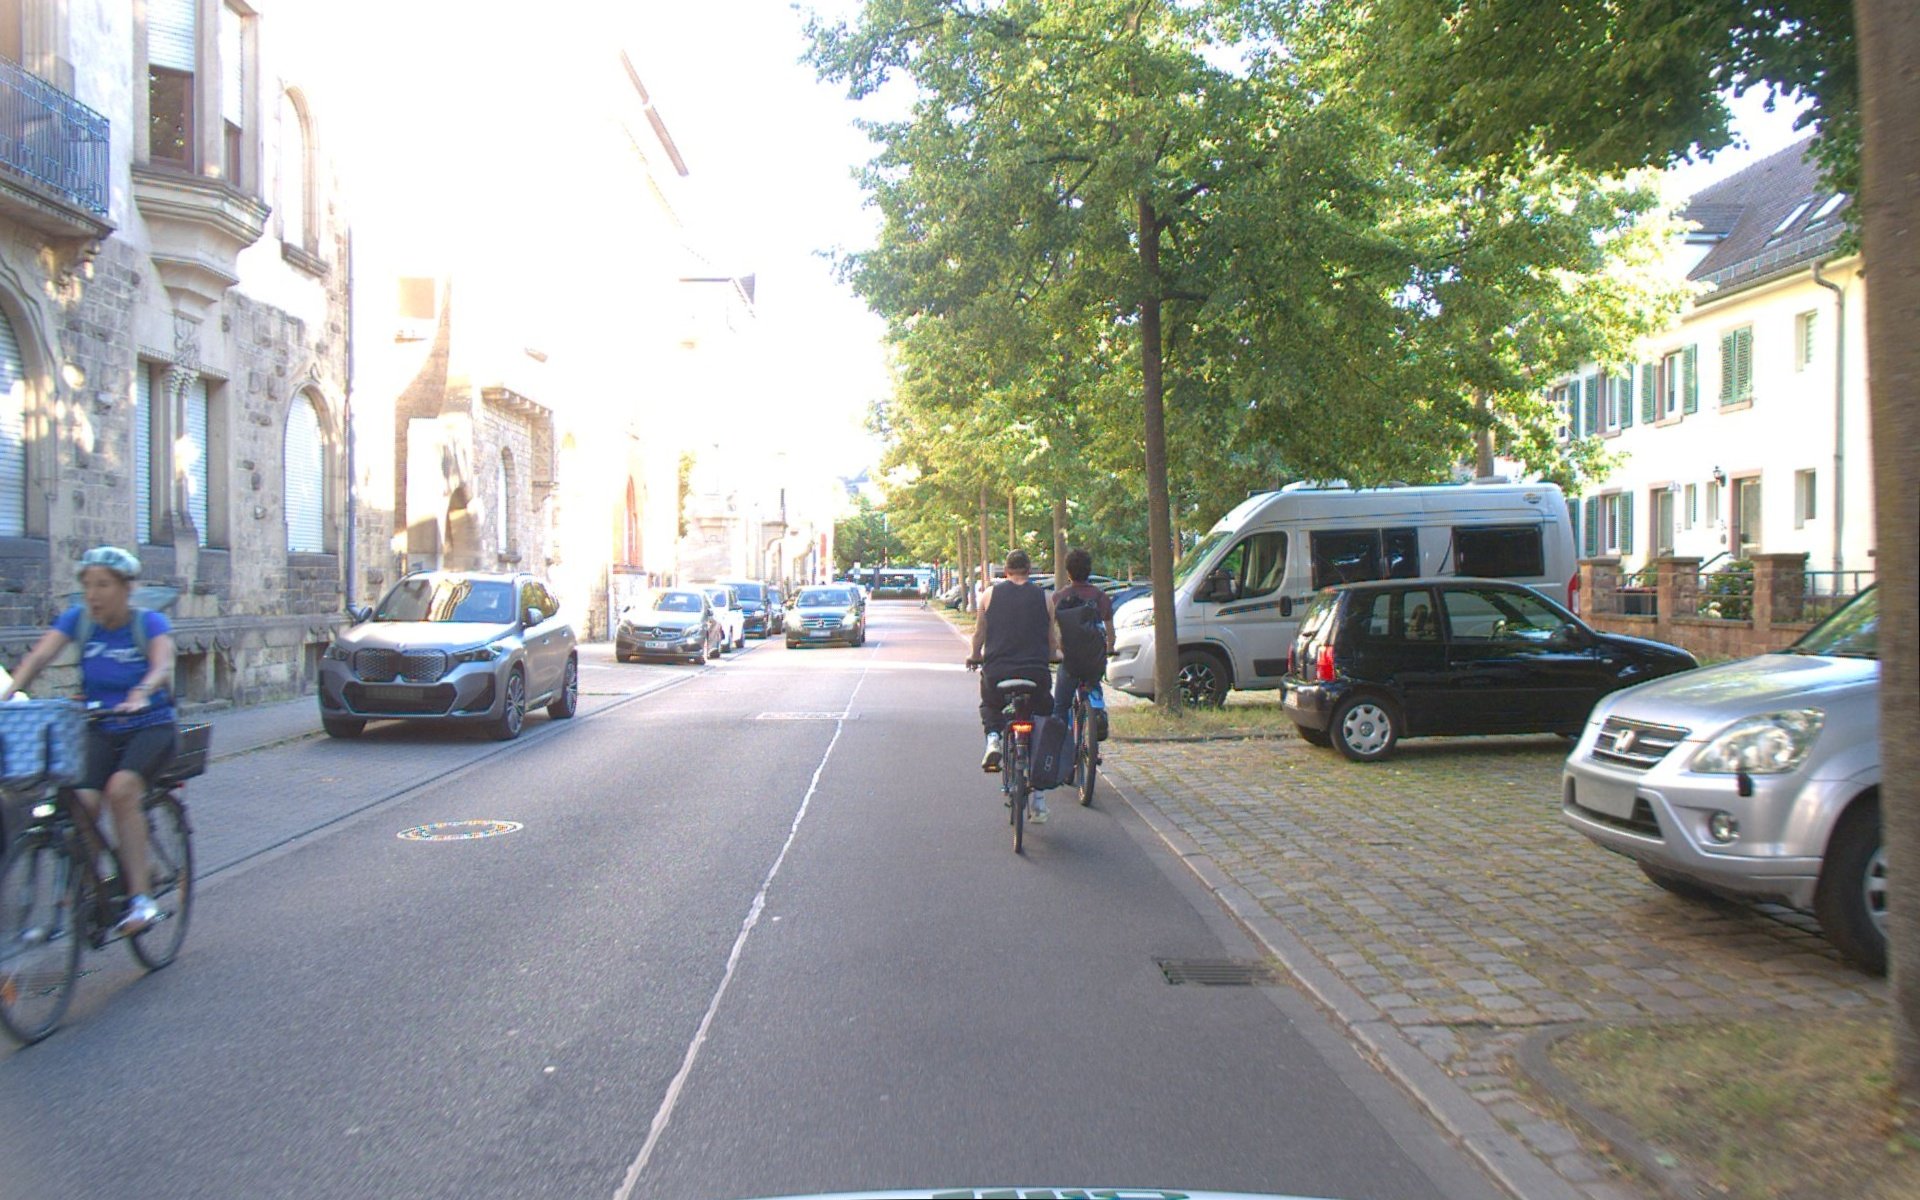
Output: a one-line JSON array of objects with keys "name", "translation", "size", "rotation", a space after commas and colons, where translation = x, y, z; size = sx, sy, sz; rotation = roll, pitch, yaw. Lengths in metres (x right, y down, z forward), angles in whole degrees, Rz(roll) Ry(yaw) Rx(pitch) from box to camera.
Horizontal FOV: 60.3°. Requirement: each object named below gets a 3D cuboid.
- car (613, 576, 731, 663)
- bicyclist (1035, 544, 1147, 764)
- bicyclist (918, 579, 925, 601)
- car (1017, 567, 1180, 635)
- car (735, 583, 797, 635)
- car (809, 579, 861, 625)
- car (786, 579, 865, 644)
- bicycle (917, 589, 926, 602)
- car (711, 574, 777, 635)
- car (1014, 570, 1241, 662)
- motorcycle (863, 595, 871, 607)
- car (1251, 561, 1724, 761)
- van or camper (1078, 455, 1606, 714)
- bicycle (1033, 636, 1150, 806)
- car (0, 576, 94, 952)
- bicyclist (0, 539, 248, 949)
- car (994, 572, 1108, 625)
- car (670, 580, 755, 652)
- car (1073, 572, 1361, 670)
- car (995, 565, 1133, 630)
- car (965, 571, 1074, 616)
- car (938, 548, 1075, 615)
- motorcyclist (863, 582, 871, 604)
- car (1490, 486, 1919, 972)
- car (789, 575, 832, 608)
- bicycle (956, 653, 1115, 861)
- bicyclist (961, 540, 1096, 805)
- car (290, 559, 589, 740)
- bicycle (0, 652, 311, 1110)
[{"name": "car", "translation": [-5.767, 0.369, 33.577], "size": [1.720, 1.543, 4.113], "rotation": [4, 0, -2]}, {"name": "bicyclist", "translation": [0.947, 0.382, 12.206], "size": [0.704, 1.553, 0.971], "rotation": [0, -1, -3]}, {"name": "bicyclist", "translation": [-2.421, -0.629, 104.331], "size": [0.408, 1.374, 0.430], "rotation": [0, -1, -2]}, {"name": "car", "translation": [3.680, 0.030, 44.426], "size": [4.157, 1.676, 1.854], "rotation": [-2, -1, -1]}, {"name": "car", "translation": [-6.277, 0.282, 53.868], "size": [1.583, 1.508, 4.017], "rotation": [4, 0, -2]}, {"name": "car", "translation": [-4.571, 0.045, 61.100], "size": [1.731, 1.627, 4.088], "rotation": [0, 1, -2]}, {"name": "car", "translation": [-3.342, 0.286, 41.189], "size": [1.859, 1.512, 4.377], "rotation": [0, -1, -5]}, {"name": "bicycle", "translation": [-2.437, -0.274, 104.288], "size": [0.530, 0.842, 1.918], "rotation": [0, -1, -2]}, {"name": "car", "translation": [-6.278, 0.136, 48.419], "size": [1.598, 1.694, 3.966], "rotation": [0, -1, -3]}, {"name": "car", "translation": [3.240, 0.313, 32.526], "size": [4.160, 1.634, 1.752], "rotation": [-2, -1, -5]}, {"name": "motorcycle", "translation": [-6.405, 0.054, 113.729], "size": [0.540, 0.815, 1.307], "rotation": [-1, 1, -4]}, {"name": "car", "translation": [4.398, 0.492, 14.140], "size": [3.431, 1.498, 1.750], "rotation": [-2, -1, -3]}, {"name": "van or camper", "translation": [4.286, -0.178, 19.199], "size": [5.464, 2.581, 2.267], "rotation": [-3, -1, -4]}, {"name": "bicycle", "translation": [0.938, 0.844, 12.205], "size": [0.544, 1.091, 1.967], "rotation": [0, 0, -5]}, {"name": "car", "translation": [-4.924, 0.690, 5.454], "size": [1.694, 1.602, 4.707], "rotation": [0, -1, -1]}, {"name": "bicyclist", "translation": [-3.167, 0.478, 6.105], "size": [0.652, 1.368, 1.059], "rotation": [-1, 1, -5]}, {"name": "car", "translation": [3.403, -0.045, 62.346], "size": [4.157, 1.828, 1.854], "rotation": [-2, -1, -1]}, {"name": "car", "translation": [-5.817, 0.366, 39.215], "size": [1.461, 1.543, 3.773], "rotation": [4, 0, -2]}, {"name": "car", "translation": [4.126, 0.341, 27.074], "size": [4.411, 1.478, 1.816], "rotation": [-1, 0, -1]}, {"name": "car", "translation": [3.225, -0.085, 51.823], "size": [4.157, 1.872, 1.854], "rotation": [-2, -1, -1]}, {"name": "car", "translation": [2.579, -0.290, 72.432], "size": [4.660, 1.811, 1.854], "rotation": [-2, -1, -1]}, {"name": "car", "translation": [2.465, -0.996, 89.144], "size": [7.184, 3.339, 2.222], "rotation": [-2, -1, -1]}, {"name": "motorcyclist", "translation": [-6.397, -0.484, 113.713], "size": [0.540, 1.474, 0.687], "rotation": [-1, 0, -4]}, {"name": "car", "translation": [4.788, 0.343, 7.016], "size": [4.387, 1.698, 1.941], "rotation": [-3, 1, -4]}, {"name": "car", "translation": [-7.258, -0.388, 80.625], "size": [1.954, 1.512, 3.997], "rotation": [0, -1, -3]}, {"name": "bicycle", "translation": [0.416, 0.890, 10.074], "size": [0.682, 1.091, 1.966], "rotation": [0, -1, -6]}, {"name": "bicyclist", "translation": [0.404, 0.425, 10.210], "size": [0.692, 1.553, 0.971], "rotation": [0, -1, -6]}, {"name": "car", "translation": [-5.285, 0.471, 17.433], "size": [2.009, 1.650, 4.392], "rotation": [0, -1, -4]}, {"name": "bicycle", "translation": [-3.183, 0.869, 6.083], "size": [0.738, 1.198, 2.618], "rotation": [-1, 1, -5]}]
